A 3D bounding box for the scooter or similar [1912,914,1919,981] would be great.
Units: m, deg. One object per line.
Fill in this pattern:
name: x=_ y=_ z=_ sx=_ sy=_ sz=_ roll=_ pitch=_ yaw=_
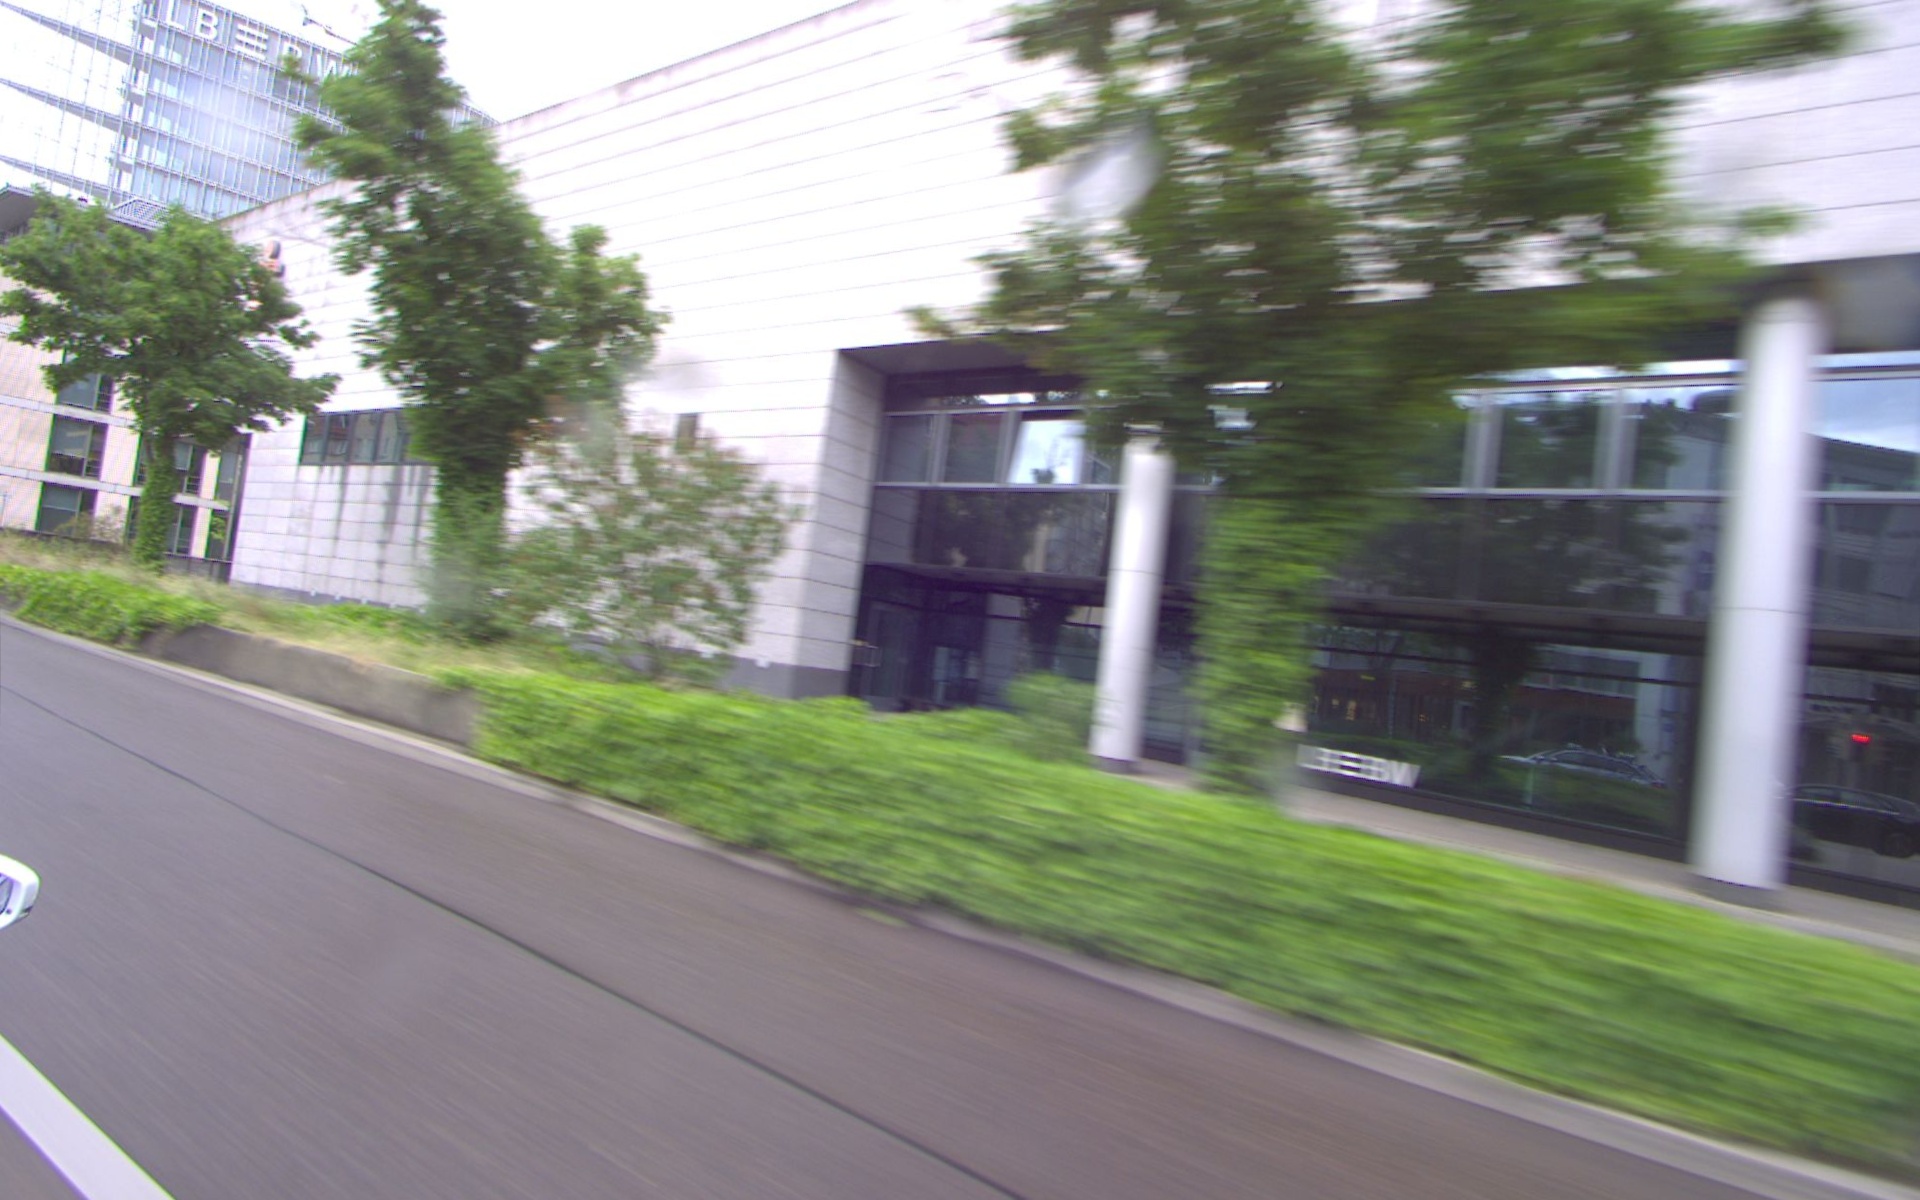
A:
scooter or similar: x=7.171 y=2.087 z=7.010 sx=0.452 sy=1.424 sz=1.325 roll=8 pitch=-3 yaw=35
